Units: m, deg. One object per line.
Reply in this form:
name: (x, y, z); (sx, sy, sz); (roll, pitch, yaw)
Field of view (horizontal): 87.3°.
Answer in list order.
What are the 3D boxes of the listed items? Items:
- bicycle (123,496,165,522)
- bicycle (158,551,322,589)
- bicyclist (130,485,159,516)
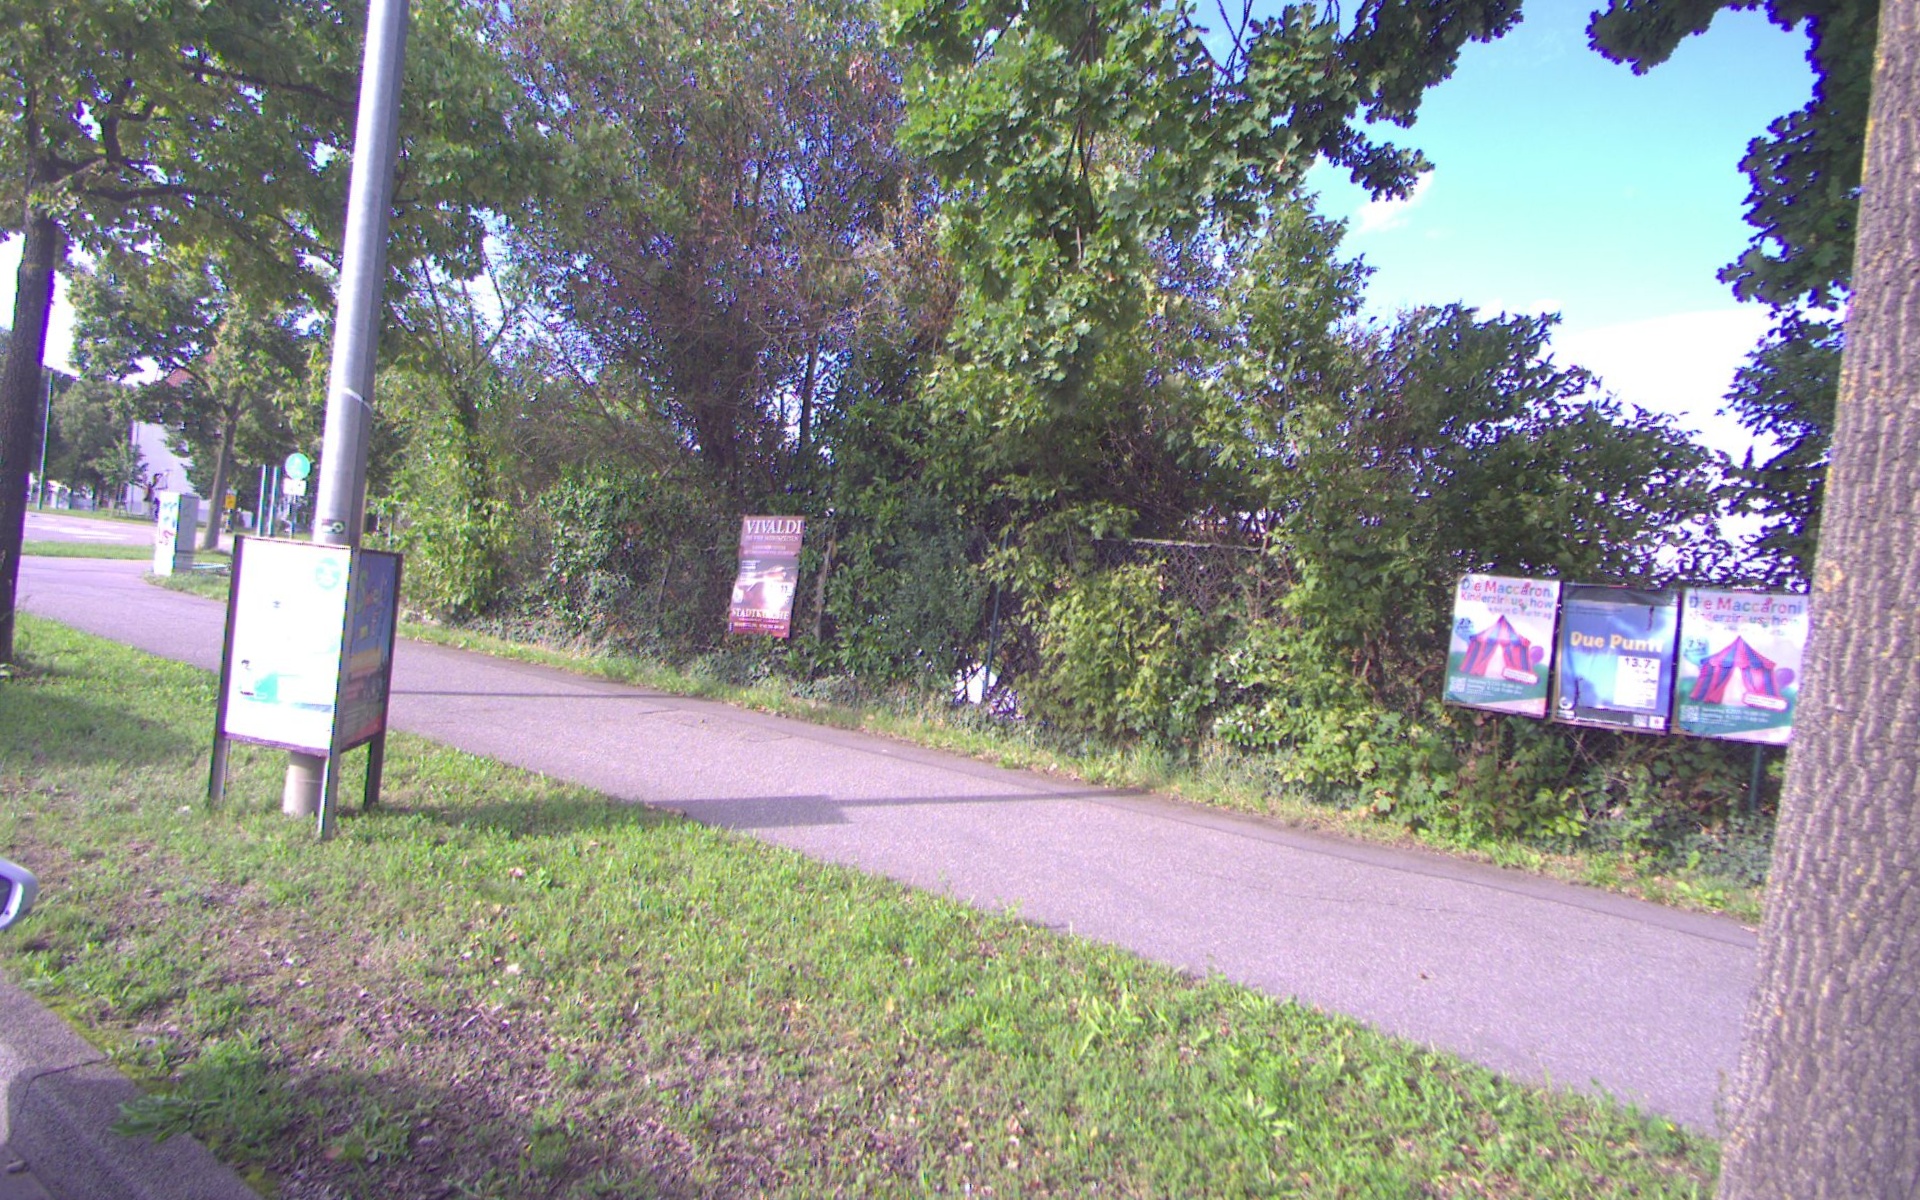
bicycle: (-60.595, -6.768, 74.695); (2.247, 1.548, 0.896); (6, -1, 2)
bicycle: (-13.951, -0.582, 19.521); (2.529, 0.390, 1.411); (7, 0, 21)
bicyclist: (-60.561, -7.367, 74.704); (1.201, 2.037, 0.822); (6, -1, 1)
